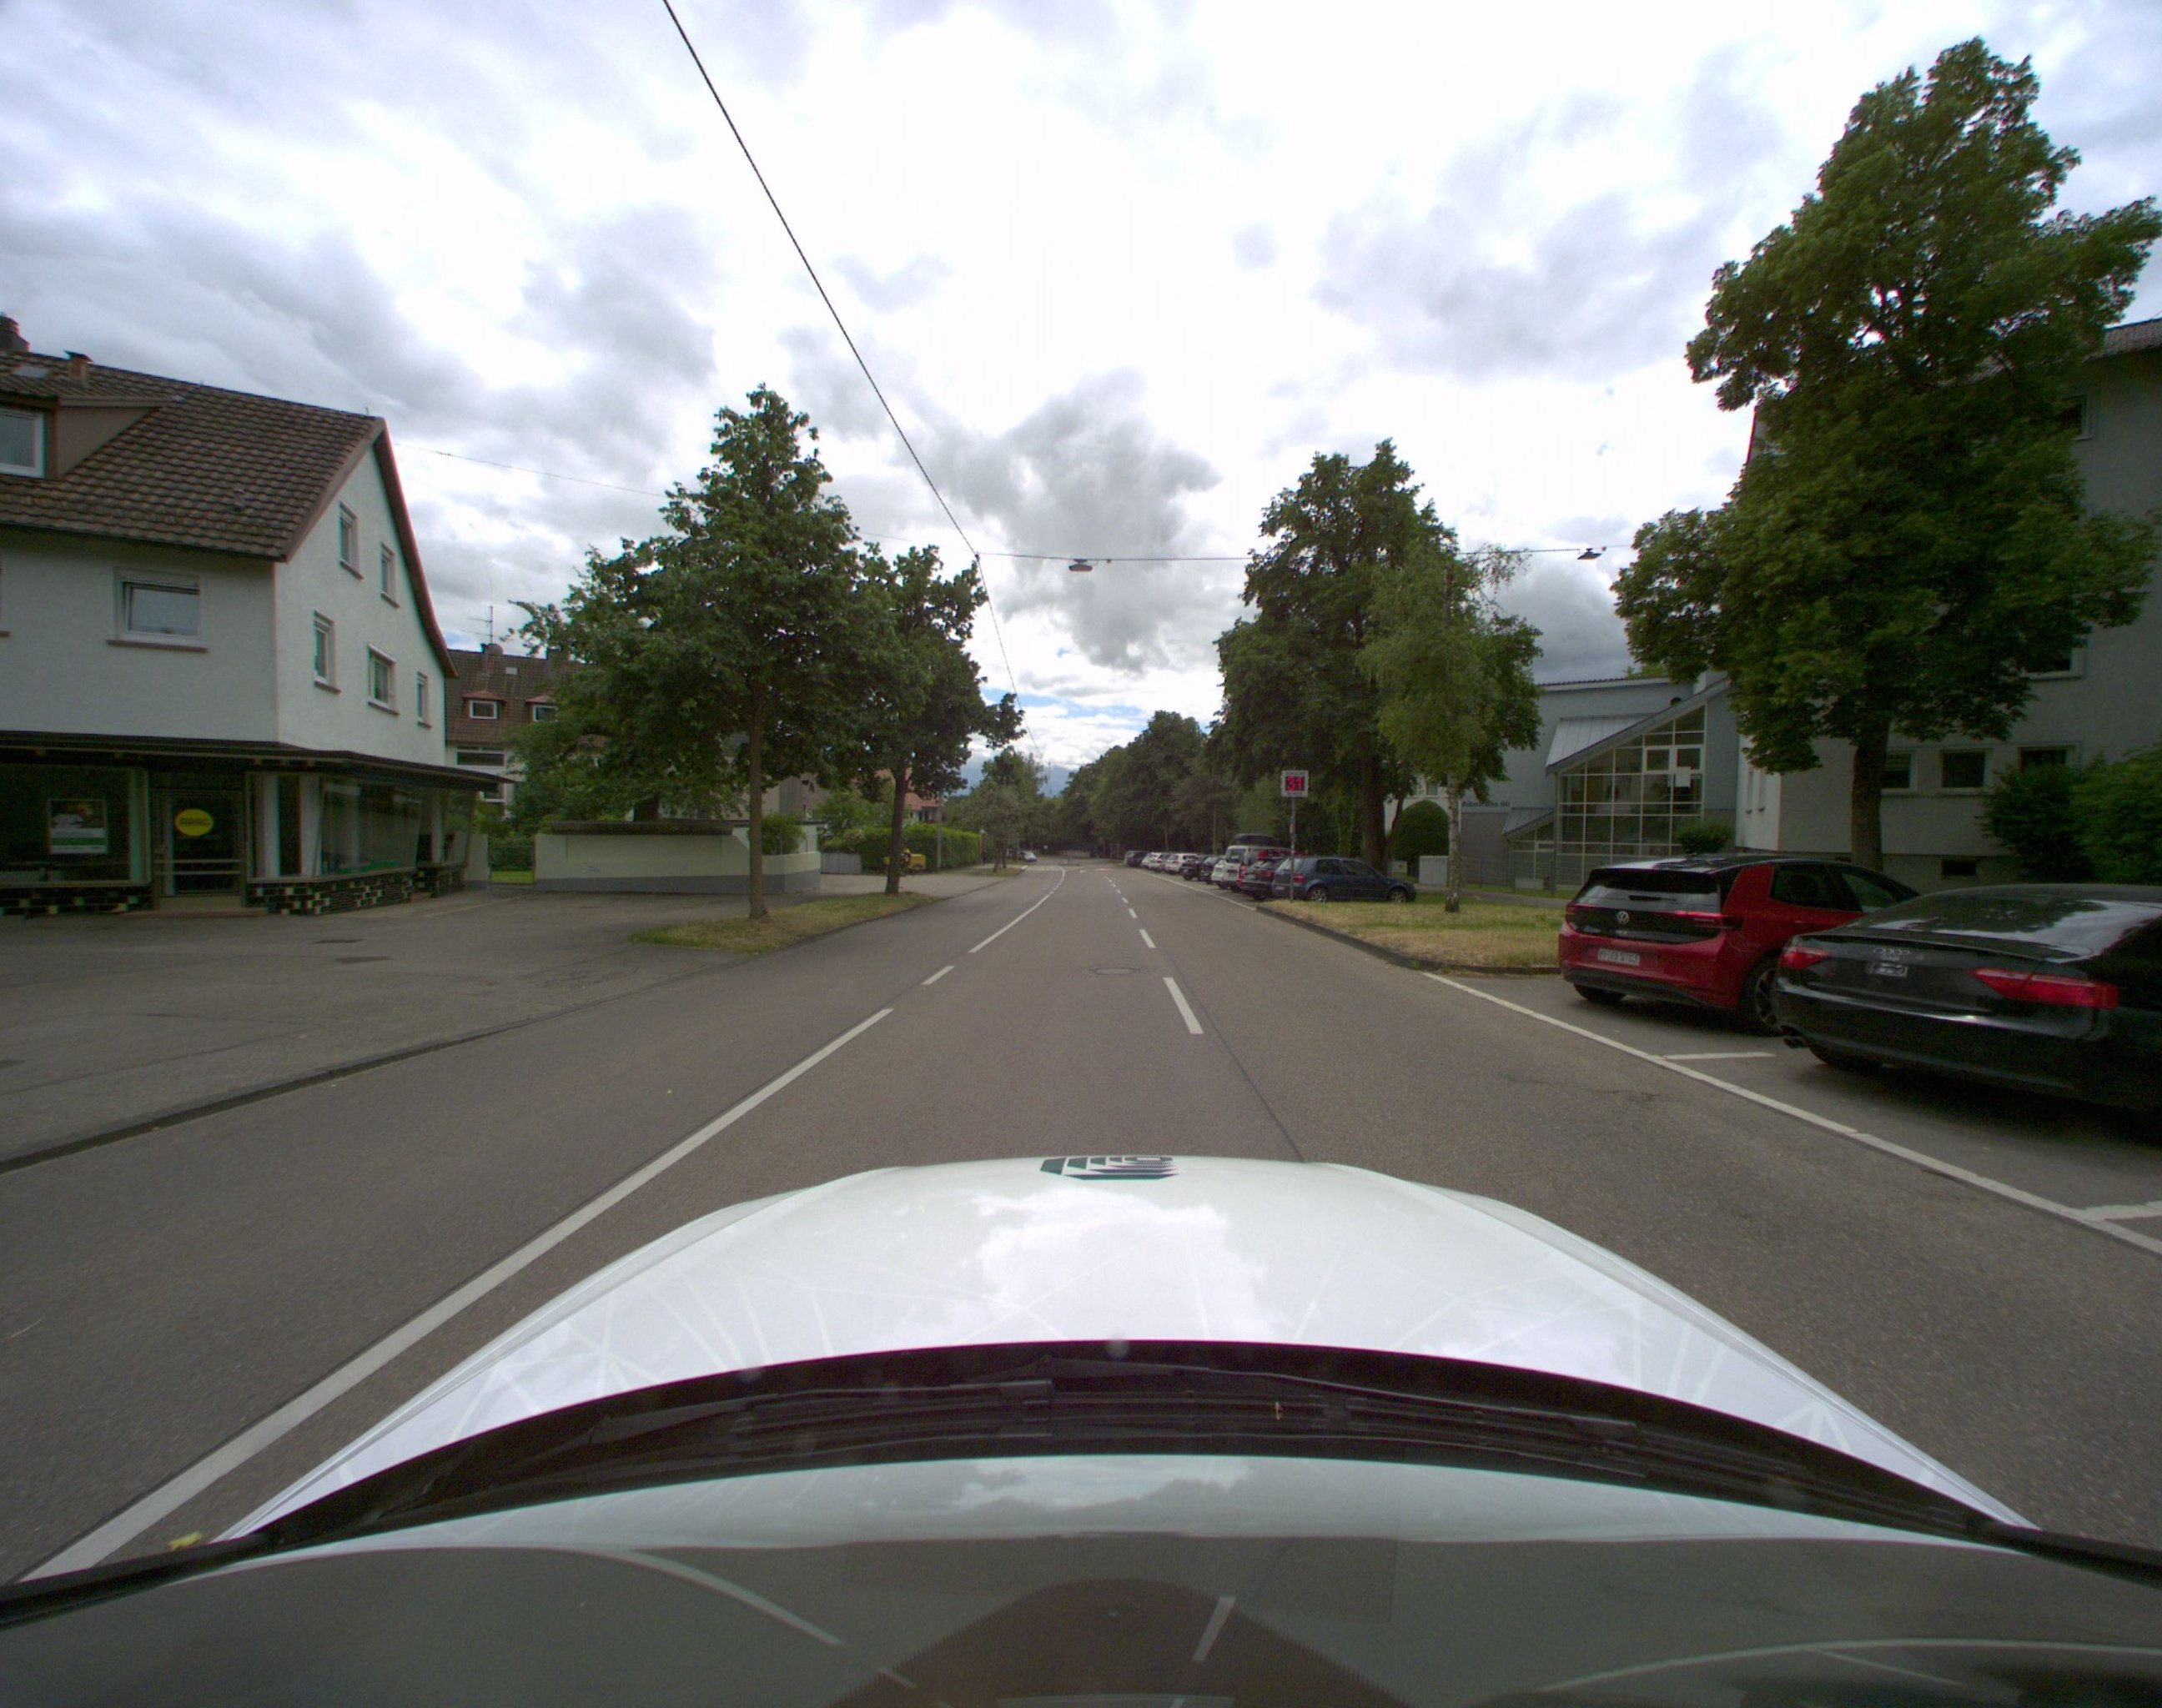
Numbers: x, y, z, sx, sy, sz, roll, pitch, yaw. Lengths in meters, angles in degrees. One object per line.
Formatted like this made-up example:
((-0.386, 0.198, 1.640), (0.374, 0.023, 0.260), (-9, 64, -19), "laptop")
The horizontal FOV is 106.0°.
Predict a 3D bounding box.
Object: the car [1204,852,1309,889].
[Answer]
((7.481, 0.709, 34.920), (3.972, 1.449, 1.909), (1, 0, -14), "car")

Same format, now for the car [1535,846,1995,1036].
((6.735, 0.703, 8.043), (4.086, 1.515, 1.722), (0, 0, -21), "car")

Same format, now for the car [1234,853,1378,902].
((7.028, 0.726, 25.525), (4.036, 1.405, 1.747), (1, 0, -17), "car")

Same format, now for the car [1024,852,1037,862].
((-7.608, 0.459, 121.686), (1.864, 1.471, 3.992), (0, 0, -5), "car")

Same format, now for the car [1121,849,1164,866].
((6.209, 0.341, 82.264), (3.895, 1.668, 1.733), (1, 0, -18), "car")

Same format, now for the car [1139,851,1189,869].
((7.039, 0.495, 69.459), (3.895, 1.429, 1.733), (1, 0, -18), "car")

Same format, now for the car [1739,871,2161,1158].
((6.816, 0.828, 5.238), (4.316, 1.341, 1.726), (1, 0, -13), "car")

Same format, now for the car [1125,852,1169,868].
((6.430, 0.587, 79.470), (3.895, 1.429, 1.733), (1, 0, -18), "car")

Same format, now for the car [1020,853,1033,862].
((-8.561, 0.566, 127.275), (1.864, 1.471, 3.992), (0, 0, -5), "car")

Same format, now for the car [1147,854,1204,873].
((7.048, 0.709, 60.984), (3.901, 1.309, 1.730), (1, 0, -23), "car")

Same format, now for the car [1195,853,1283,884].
((7.764, 0.710, 40.069), (3.895, 1.449, 1.833), (1, 0, -19), "car")

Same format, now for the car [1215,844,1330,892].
((7.423, 0.543, 31.546), (4.106, 1.754, 1.772), (1, 0, -25), "car")

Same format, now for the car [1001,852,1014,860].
((-13.527, 0.368, 150.028), (1.868, 1.471, 3.984), (0, 0, -11), "car")

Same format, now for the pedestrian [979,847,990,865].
((-9.151, 0.207, 77.351), (0.972, 1.730, 0.848), (0, 0, -3), "pedestrian")

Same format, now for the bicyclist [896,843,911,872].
((-10.741, 0.214, 49.207), (0.714, 1.697, 0.841), (1, 1, -23), "bicyclist")

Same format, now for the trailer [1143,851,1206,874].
((6.671, 0.597, 58.410), (4.165, 1.573, 1.702), (1, 0, -18), "trailer")

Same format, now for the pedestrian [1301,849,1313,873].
((14.639, 0.454, 52.794), (0.646, 1.603, 0.745), (0, 0, 7), "pedestrian")

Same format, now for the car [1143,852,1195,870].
((7.257, 0.574, 66.879), (3.895, 1.429, 1.733), (1, 0, -18), "car")

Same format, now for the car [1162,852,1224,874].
((7.709, 0.605, 56.217), (3.897, 1.449, 1.732), (1, 0, -20), "car")

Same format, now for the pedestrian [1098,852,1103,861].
((3.295, 0.382, 137.009), (0.736, 1.570, 0.654), (0, 0, 12), "pedestrian")

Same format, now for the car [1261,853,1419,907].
((7.355, 0.725, 23.226), (3.969, 1.405, 1.749), (2, 0, -14), "car")

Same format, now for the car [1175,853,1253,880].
((7.351, 0.675, 45.052), (3.900, 1.449, 1.830), (1, 0, -22), "car")

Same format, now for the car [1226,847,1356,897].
((7.326, 0.612, 28.583), (4.003, 1.620, 1.875), (1, 0, -15), "car")

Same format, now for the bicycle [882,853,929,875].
((-10.614, 0.595, 49.287), (2.654, 1.266, 0.841), (1, 1, -23), "bicycle")
